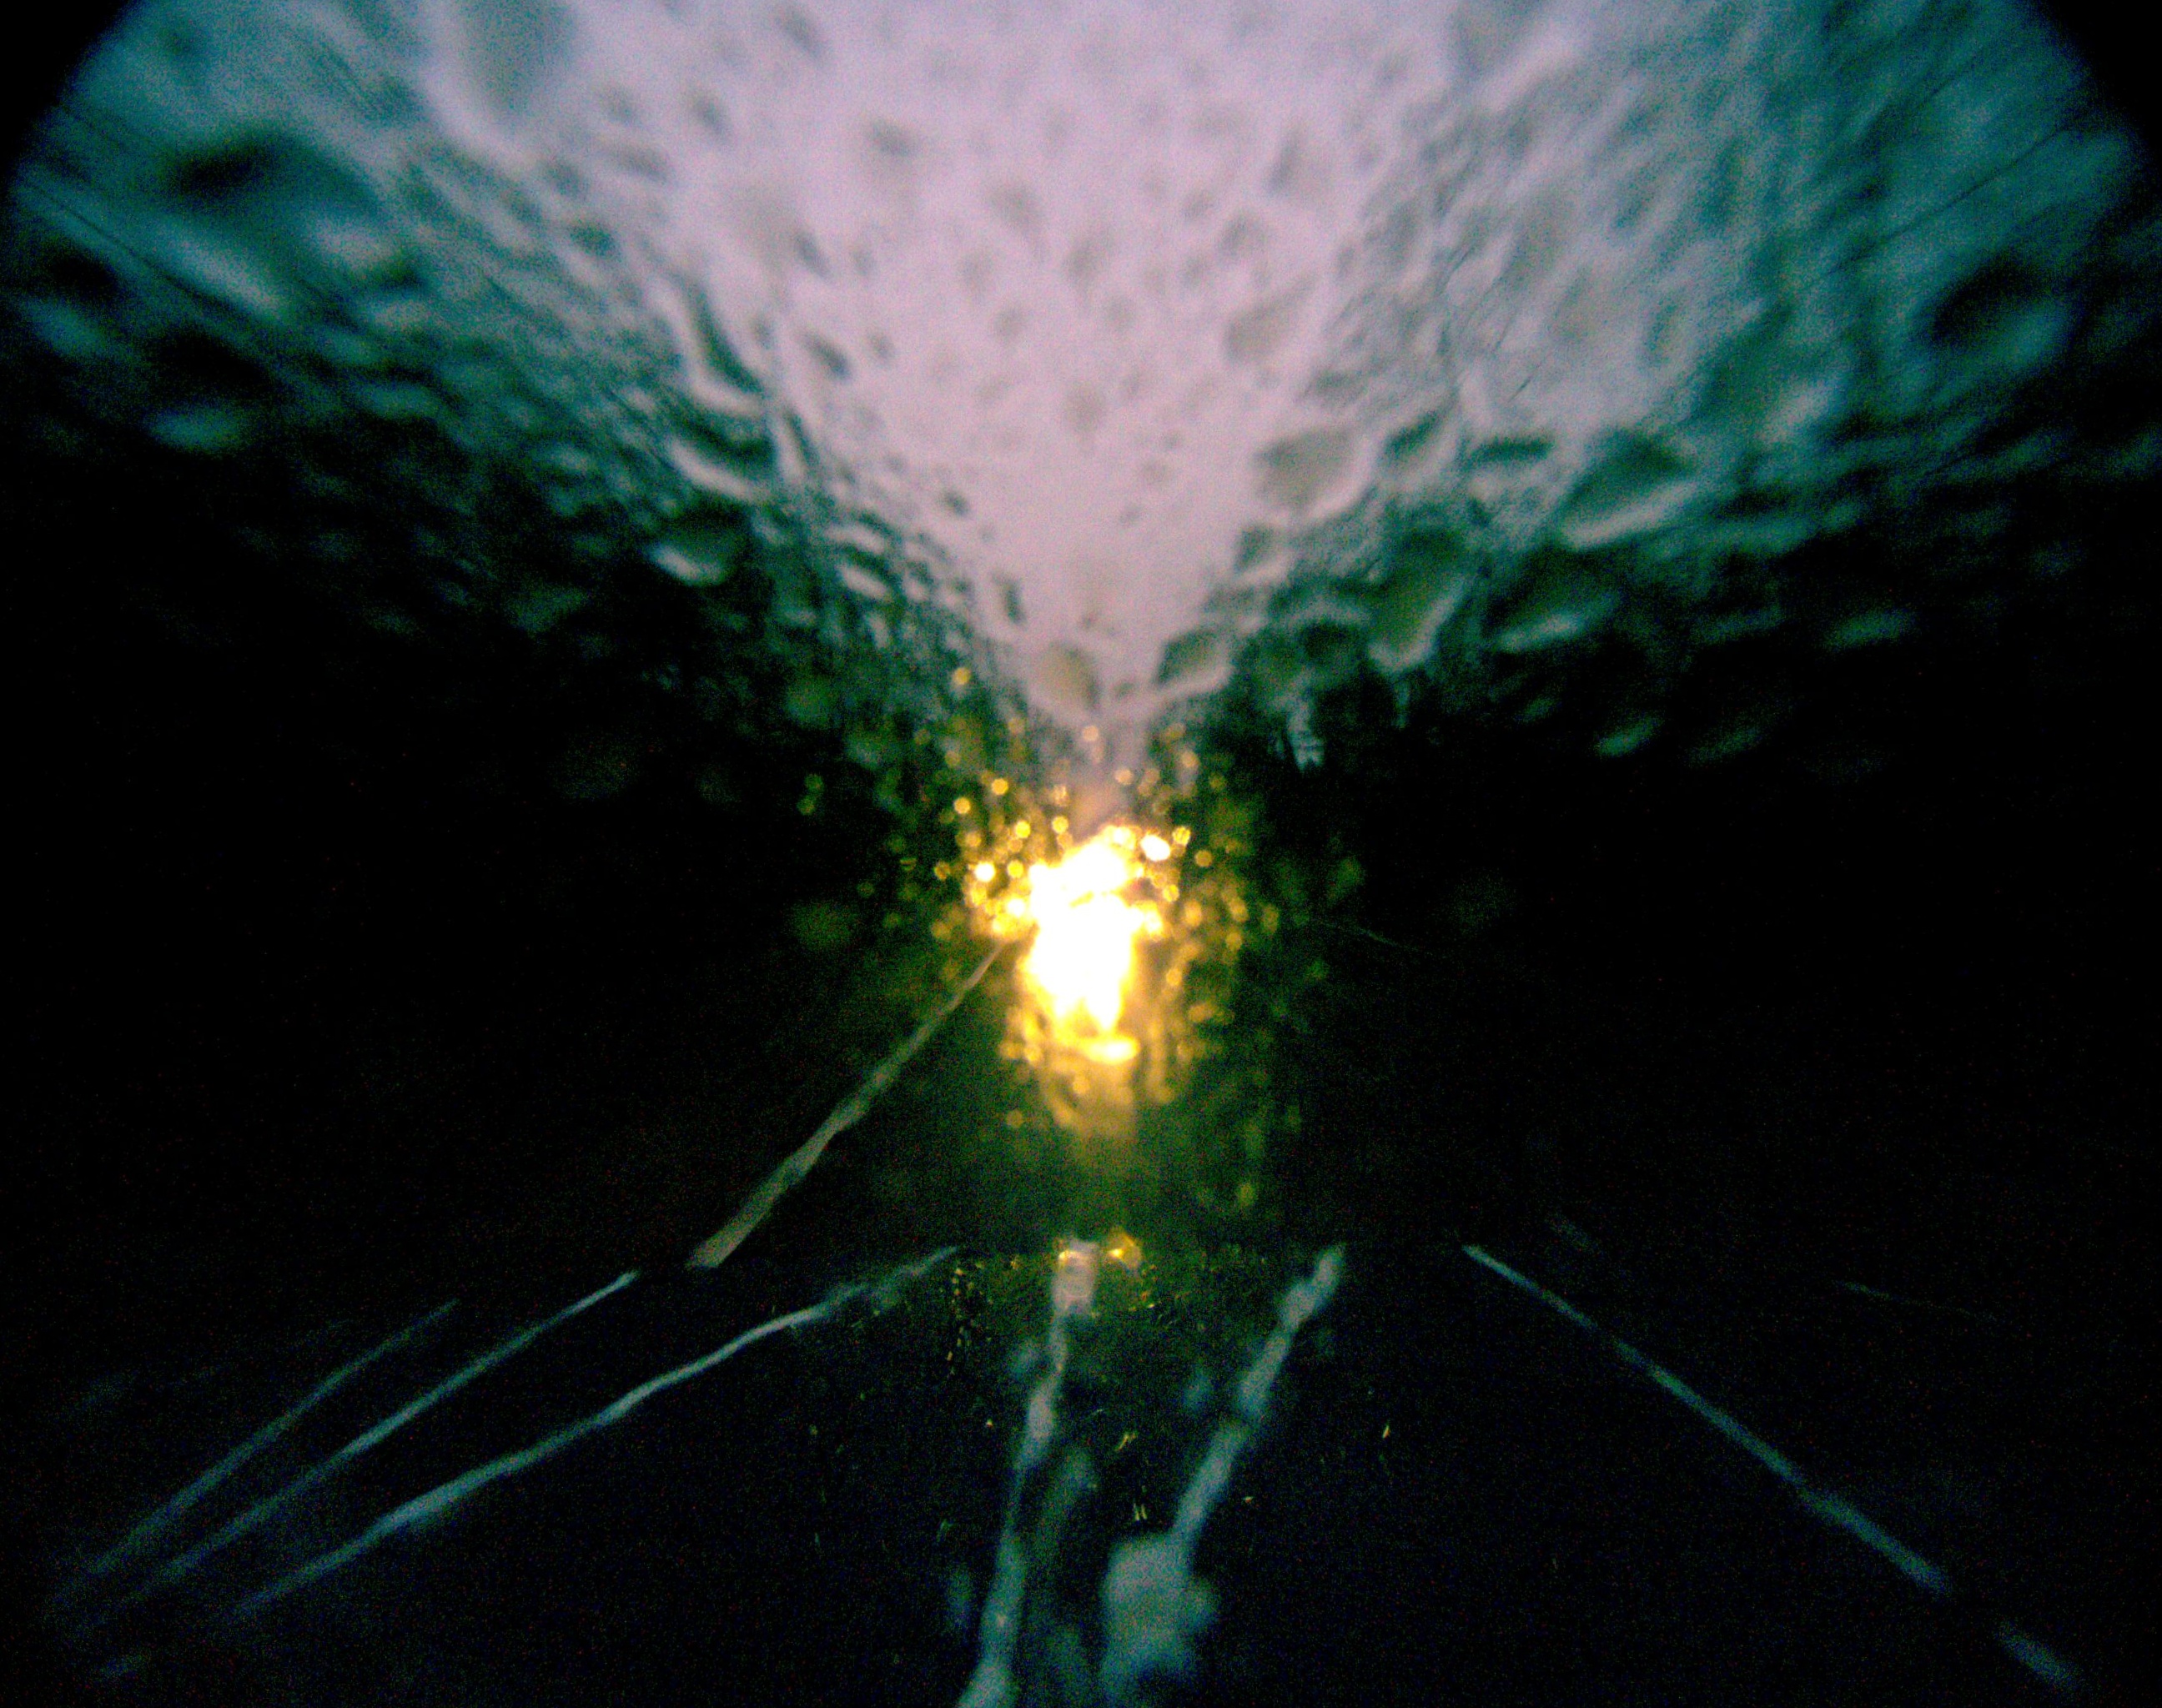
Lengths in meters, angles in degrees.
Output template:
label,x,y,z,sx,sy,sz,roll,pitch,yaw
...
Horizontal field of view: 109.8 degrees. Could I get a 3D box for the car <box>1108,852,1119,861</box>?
label,x,y,z,sx,sy,sz,roll,pitch,yaw
car,5.142,0.395,120.714,1.758,1.449,3.637,1,0,1

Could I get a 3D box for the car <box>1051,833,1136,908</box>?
label,x,y,z,sx,sy,sz,roll,pitch,yaw
car,0.453,0.496,26.529,2.542,2.213,6.169,-2,0,1

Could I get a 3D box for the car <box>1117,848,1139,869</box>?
label,x,y,z,sx,sy,sz,roll,pitch,yaw
car,4.286,0.377,69.471,1.801,1.870,4.425,0,0,0

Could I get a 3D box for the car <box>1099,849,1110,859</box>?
label,x,y,z,sx,sy,sz,roll,pitch,yaw
car,4.821,-0.014,154.359,2.012,1.977,5.031,1,0,-1
